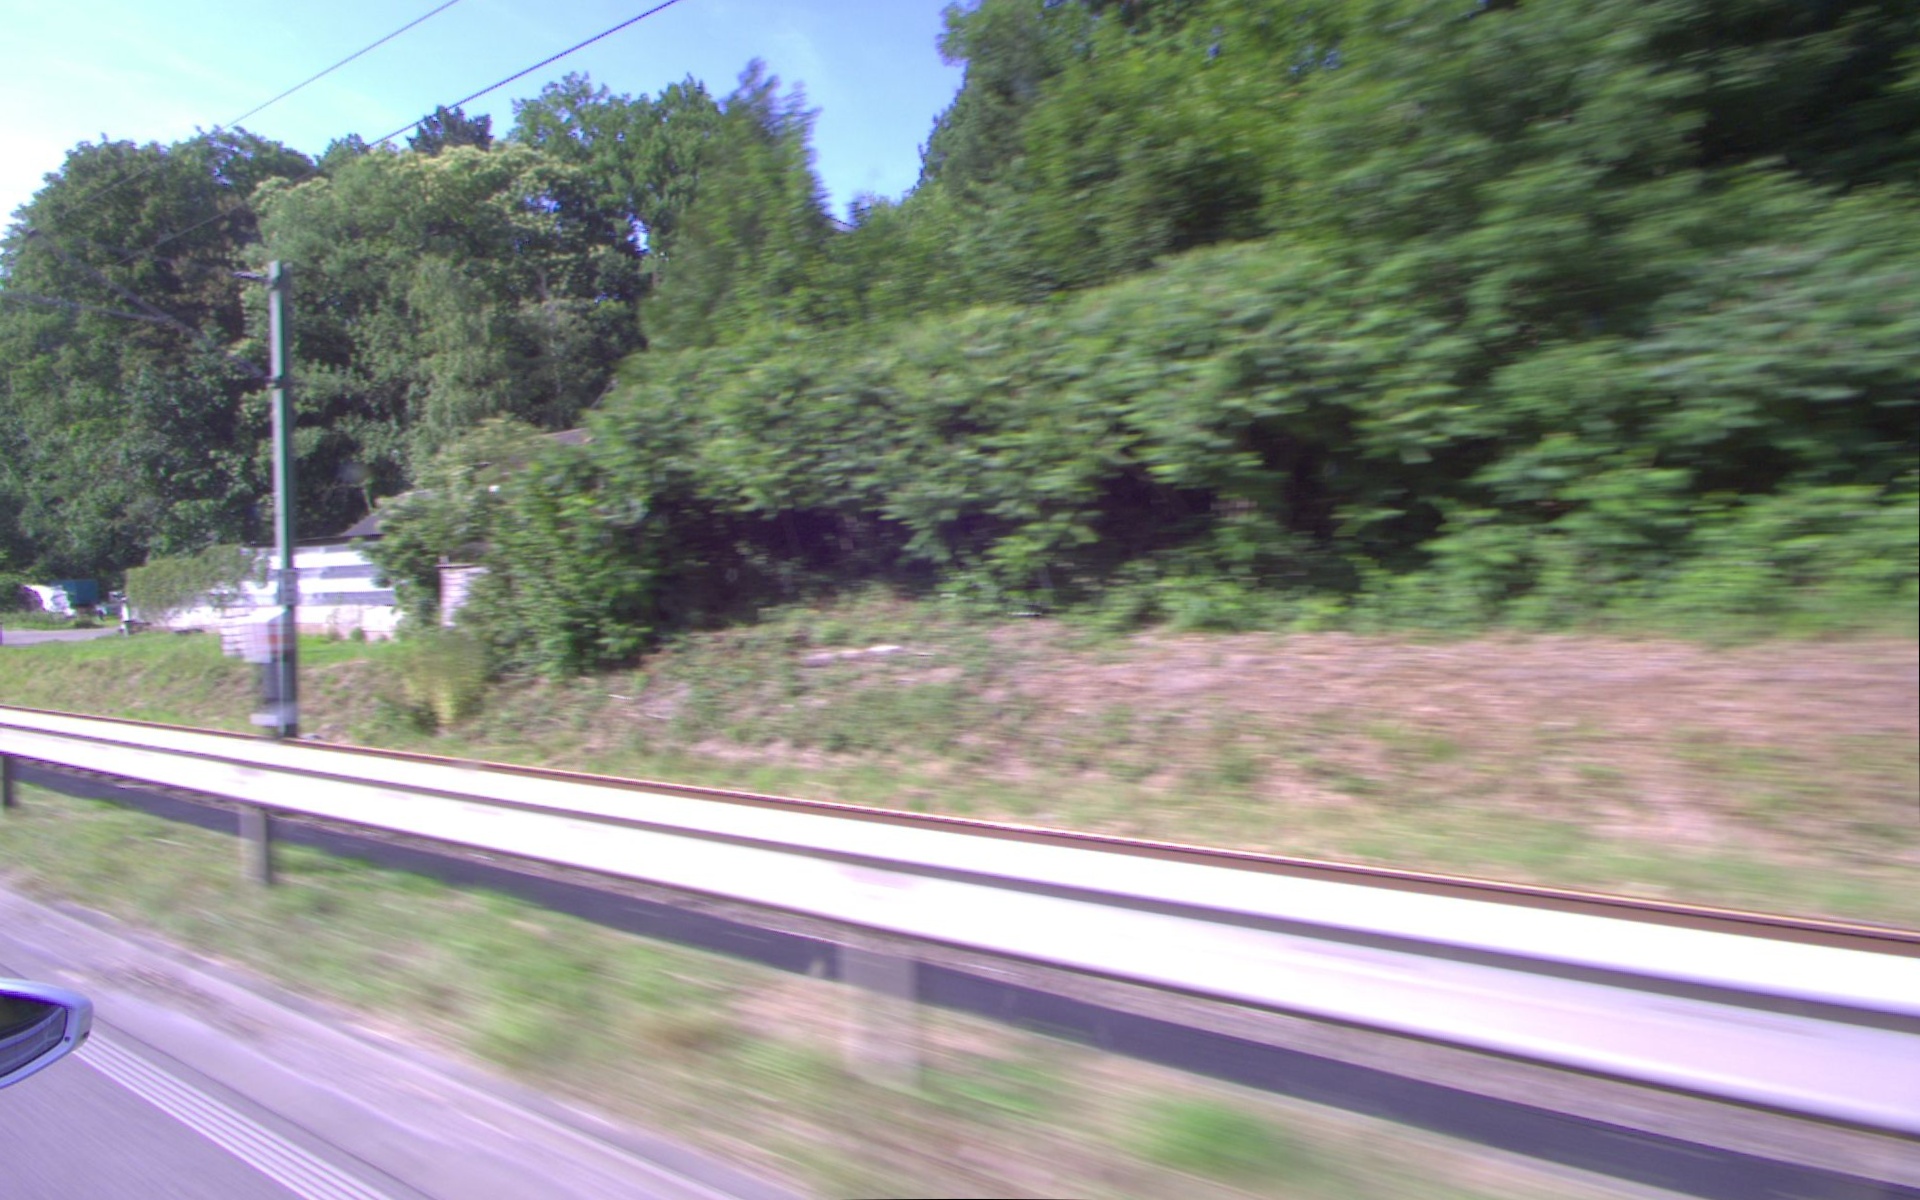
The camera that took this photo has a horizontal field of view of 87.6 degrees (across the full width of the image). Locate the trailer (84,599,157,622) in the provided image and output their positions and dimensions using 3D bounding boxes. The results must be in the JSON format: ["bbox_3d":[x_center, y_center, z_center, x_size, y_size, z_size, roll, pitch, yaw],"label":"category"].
[{"bbox_3d":[-47.141,0.604,56.203,3.660,1.207,2.064,-1,-2,31],"label":"trailer"}]

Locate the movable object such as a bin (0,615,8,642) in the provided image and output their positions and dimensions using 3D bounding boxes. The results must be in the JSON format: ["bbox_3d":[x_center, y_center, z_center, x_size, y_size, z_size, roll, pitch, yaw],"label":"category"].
[{"bbox_3d":[-40.050,1.170,41.399,0.922,1.122,0.851,0,0,38],"label":"movable object such as a bin"}]

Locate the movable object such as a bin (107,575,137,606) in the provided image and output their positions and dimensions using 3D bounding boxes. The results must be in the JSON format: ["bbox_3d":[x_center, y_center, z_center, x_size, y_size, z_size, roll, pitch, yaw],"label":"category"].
[{"bbox_3d":[-51.584,-0.583,61.607,1.771,1.825,0.865,-1,0,31],"label":"movable object such as a bin"}]
